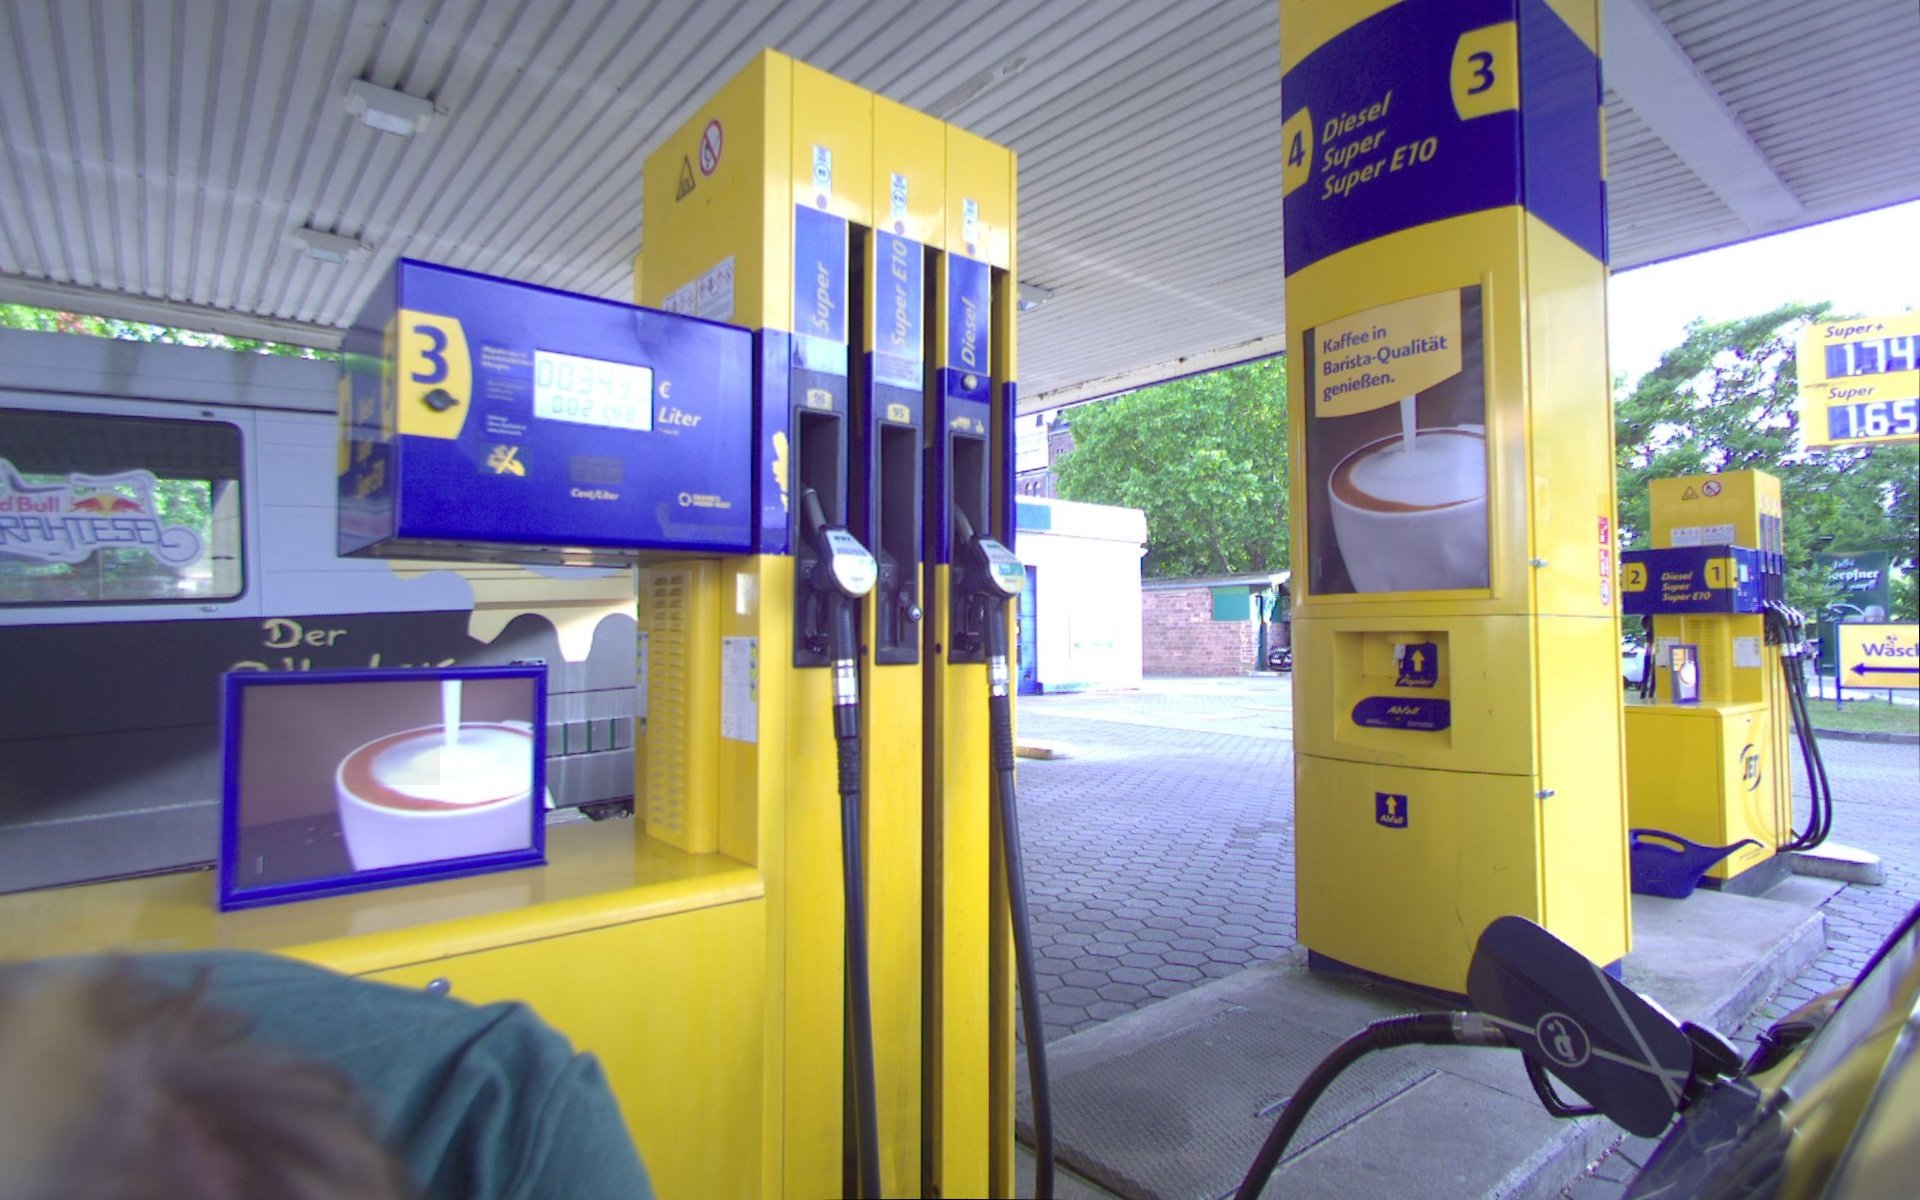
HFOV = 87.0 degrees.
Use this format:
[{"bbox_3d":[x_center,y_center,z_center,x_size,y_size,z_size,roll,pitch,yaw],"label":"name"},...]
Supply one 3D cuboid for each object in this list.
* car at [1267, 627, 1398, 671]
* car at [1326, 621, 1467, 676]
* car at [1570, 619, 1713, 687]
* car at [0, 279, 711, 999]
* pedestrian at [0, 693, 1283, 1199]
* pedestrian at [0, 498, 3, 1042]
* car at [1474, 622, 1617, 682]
[{"bbox_3d":[12.692,1.659,34.440,4.303,1.393,1.777,2,-1,-28],"label":"car"},{"bbox_3d":[13.889,1.536,32.149,4.303,1.622,1.777,2,-1,-28],"label":"car"},{"bbox_3d":[18.358,1.451,27.215,4.308,1.622,1.774,4,-4,-35],"label":"car"},{"bbox_3d":[-4.107,0.164,4.906,5.197,2.726,2.258,1,-2,-39],"label":"car"},{"bbox_3d":[-0.332,0.751,0.558,0.662,1.298,0.751,0,0,-41],"label":"pedestrian"},{"bbox_3d":[-3.667,0.563,2.886,0.963,1.785,0.979,0,0,5],"label":"pedestrian"},{"bbox_3d":[17.848,1.595,30.813,4.303,1.622,1.776,4,-4,-28],"label":"car"}]
